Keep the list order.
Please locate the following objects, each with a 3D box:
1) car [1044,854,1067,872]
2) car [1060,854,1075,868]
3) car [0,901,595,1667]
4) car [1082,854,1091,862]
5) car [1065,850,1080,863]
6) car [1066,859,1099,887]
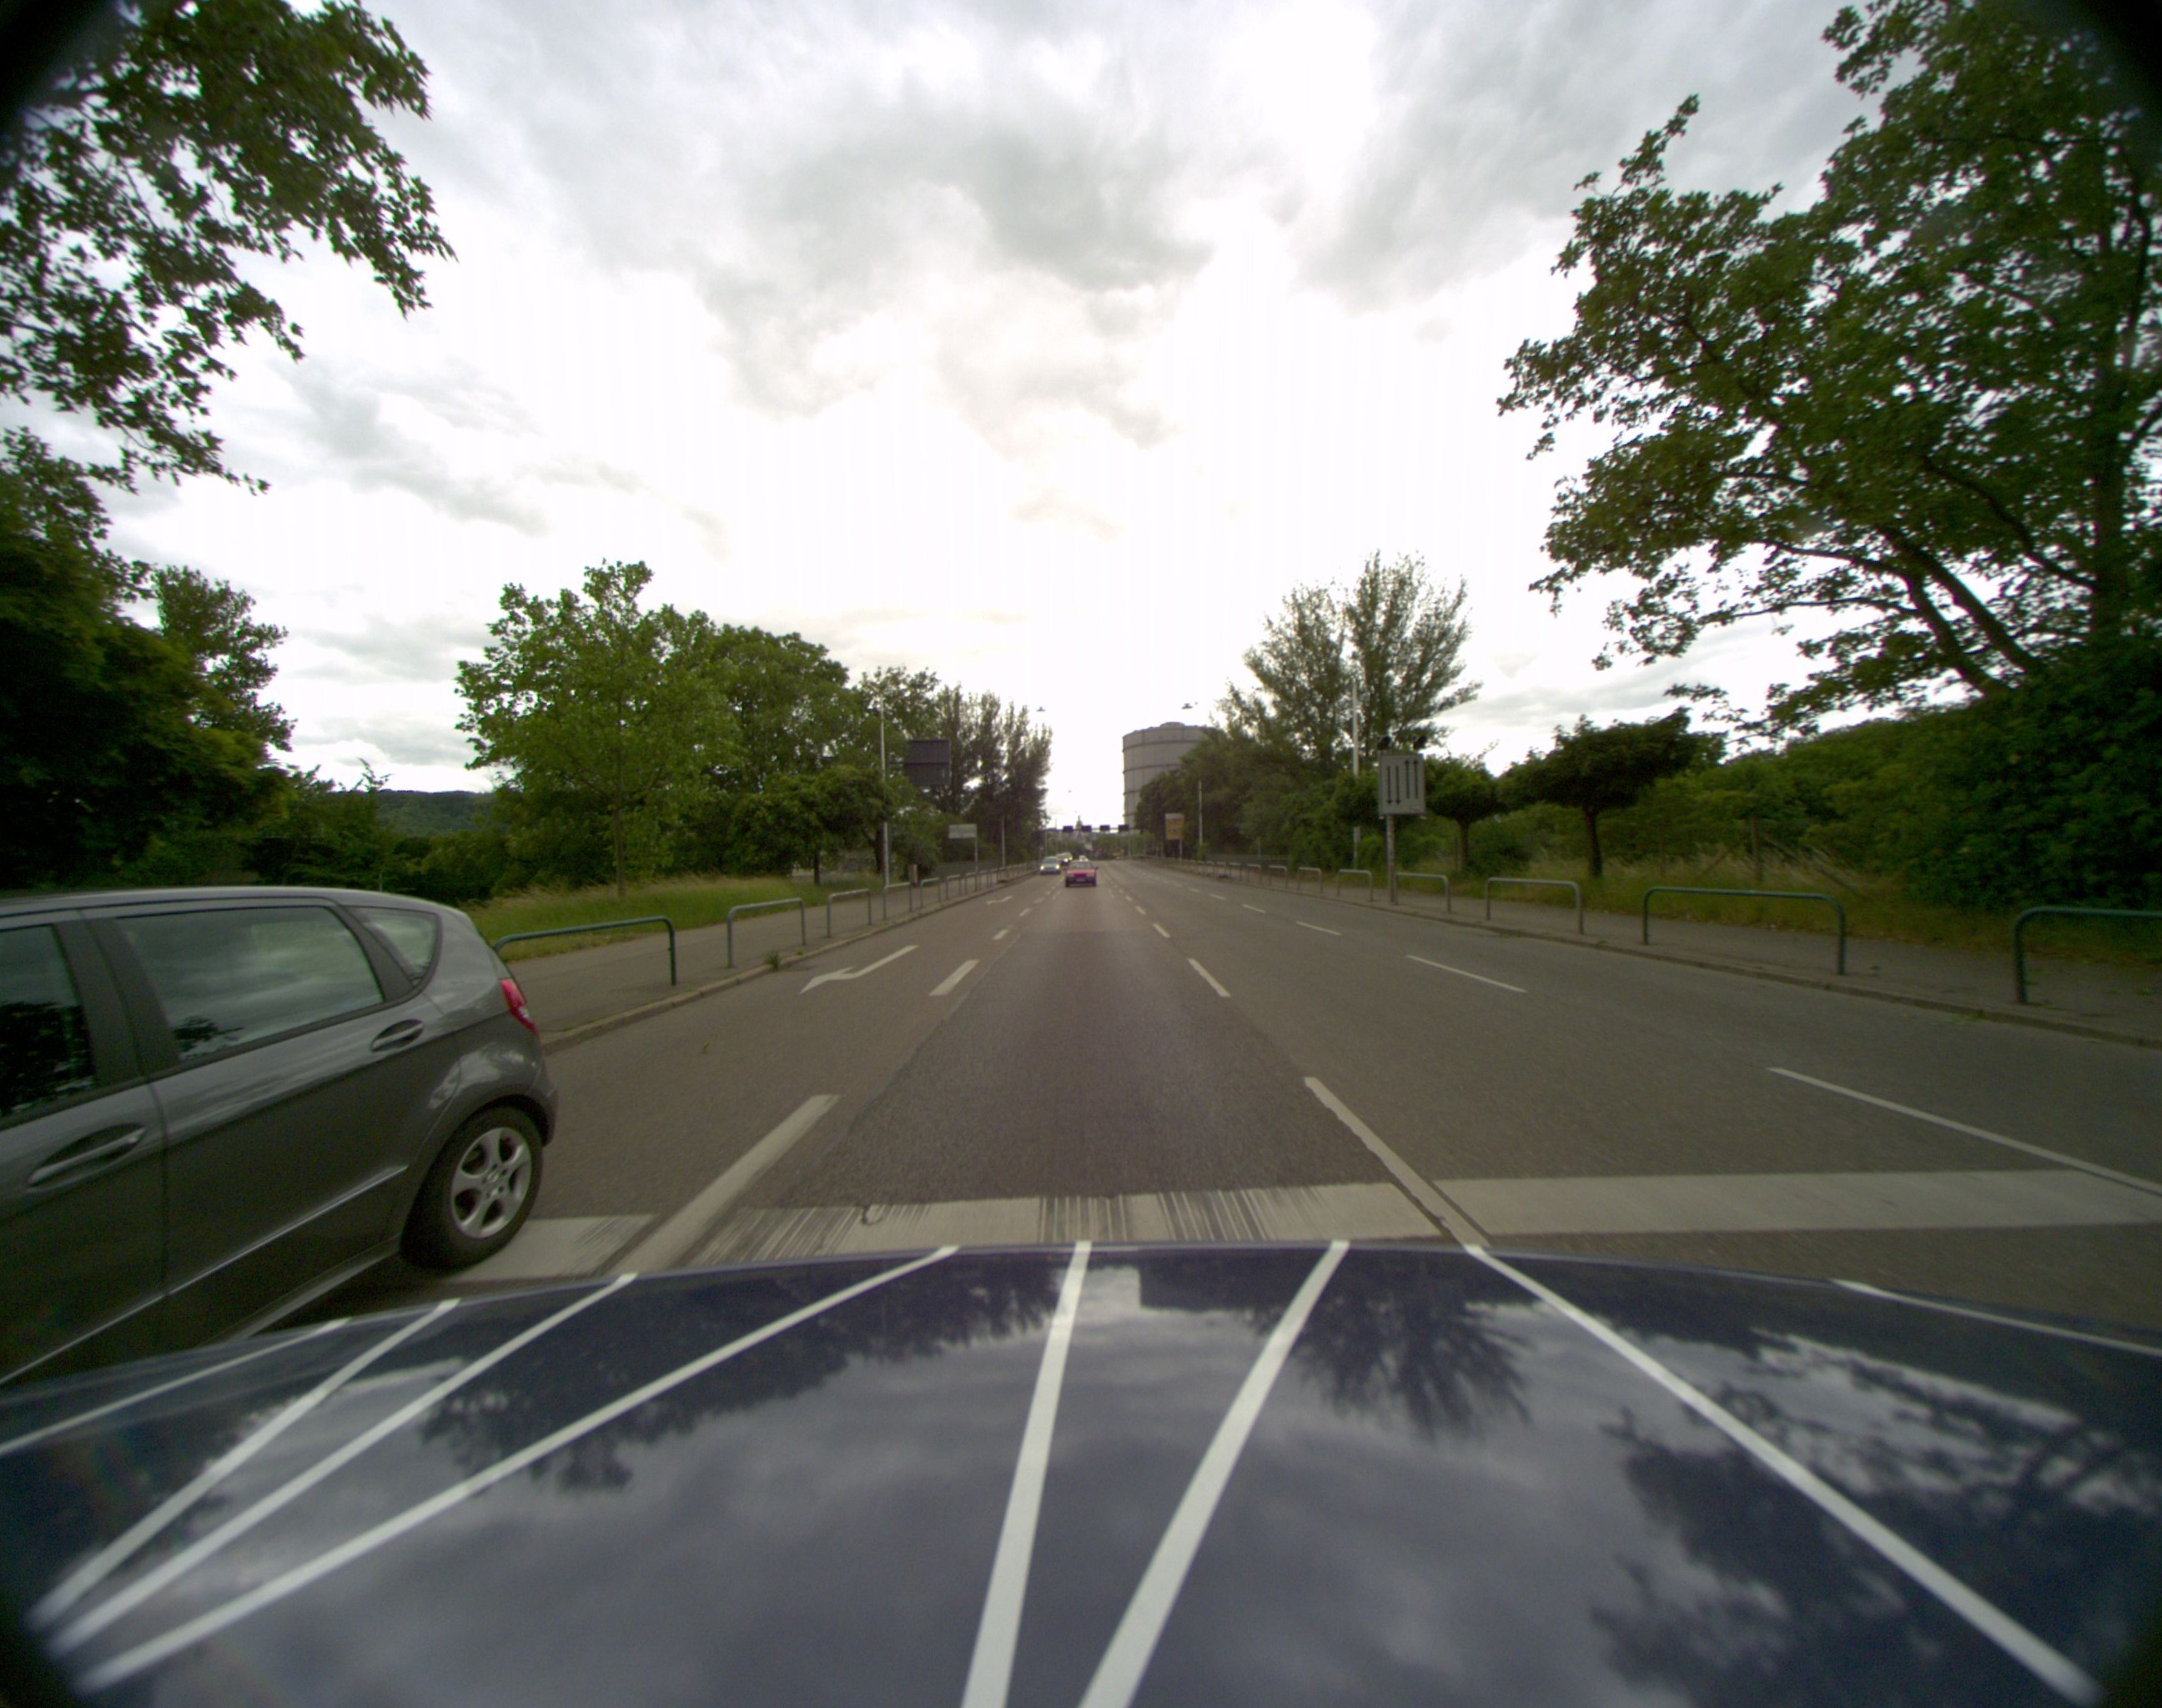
[{"bbox_3d":[-2.265,0.795,68.241,1.771,1.565,4.000,-1,0,1],"label":"car"},{"bbox_3d":[-1.688,0.922,97.819,1.776,1.696,4.000,-3,0,0],"label":"car"},{"bbox_3d":[-3.337,1.031,1.693,1.831,1.606,4.035,-2,-1,1],"label":"car"},{"bbox_3d":[1.351,0.992,198.926,1.998,1.792,4.001,-3,0,4],"label":"car"},{"bbox_3d":[-1.275,0.387,115.602,1.998,1.775,4.001,-1,-1,2],"label":"car"},{"bbox_3d":[0.104,1.005,41.581,1.696,1.434,4.000,0,-1,0],"label":"car"}]
